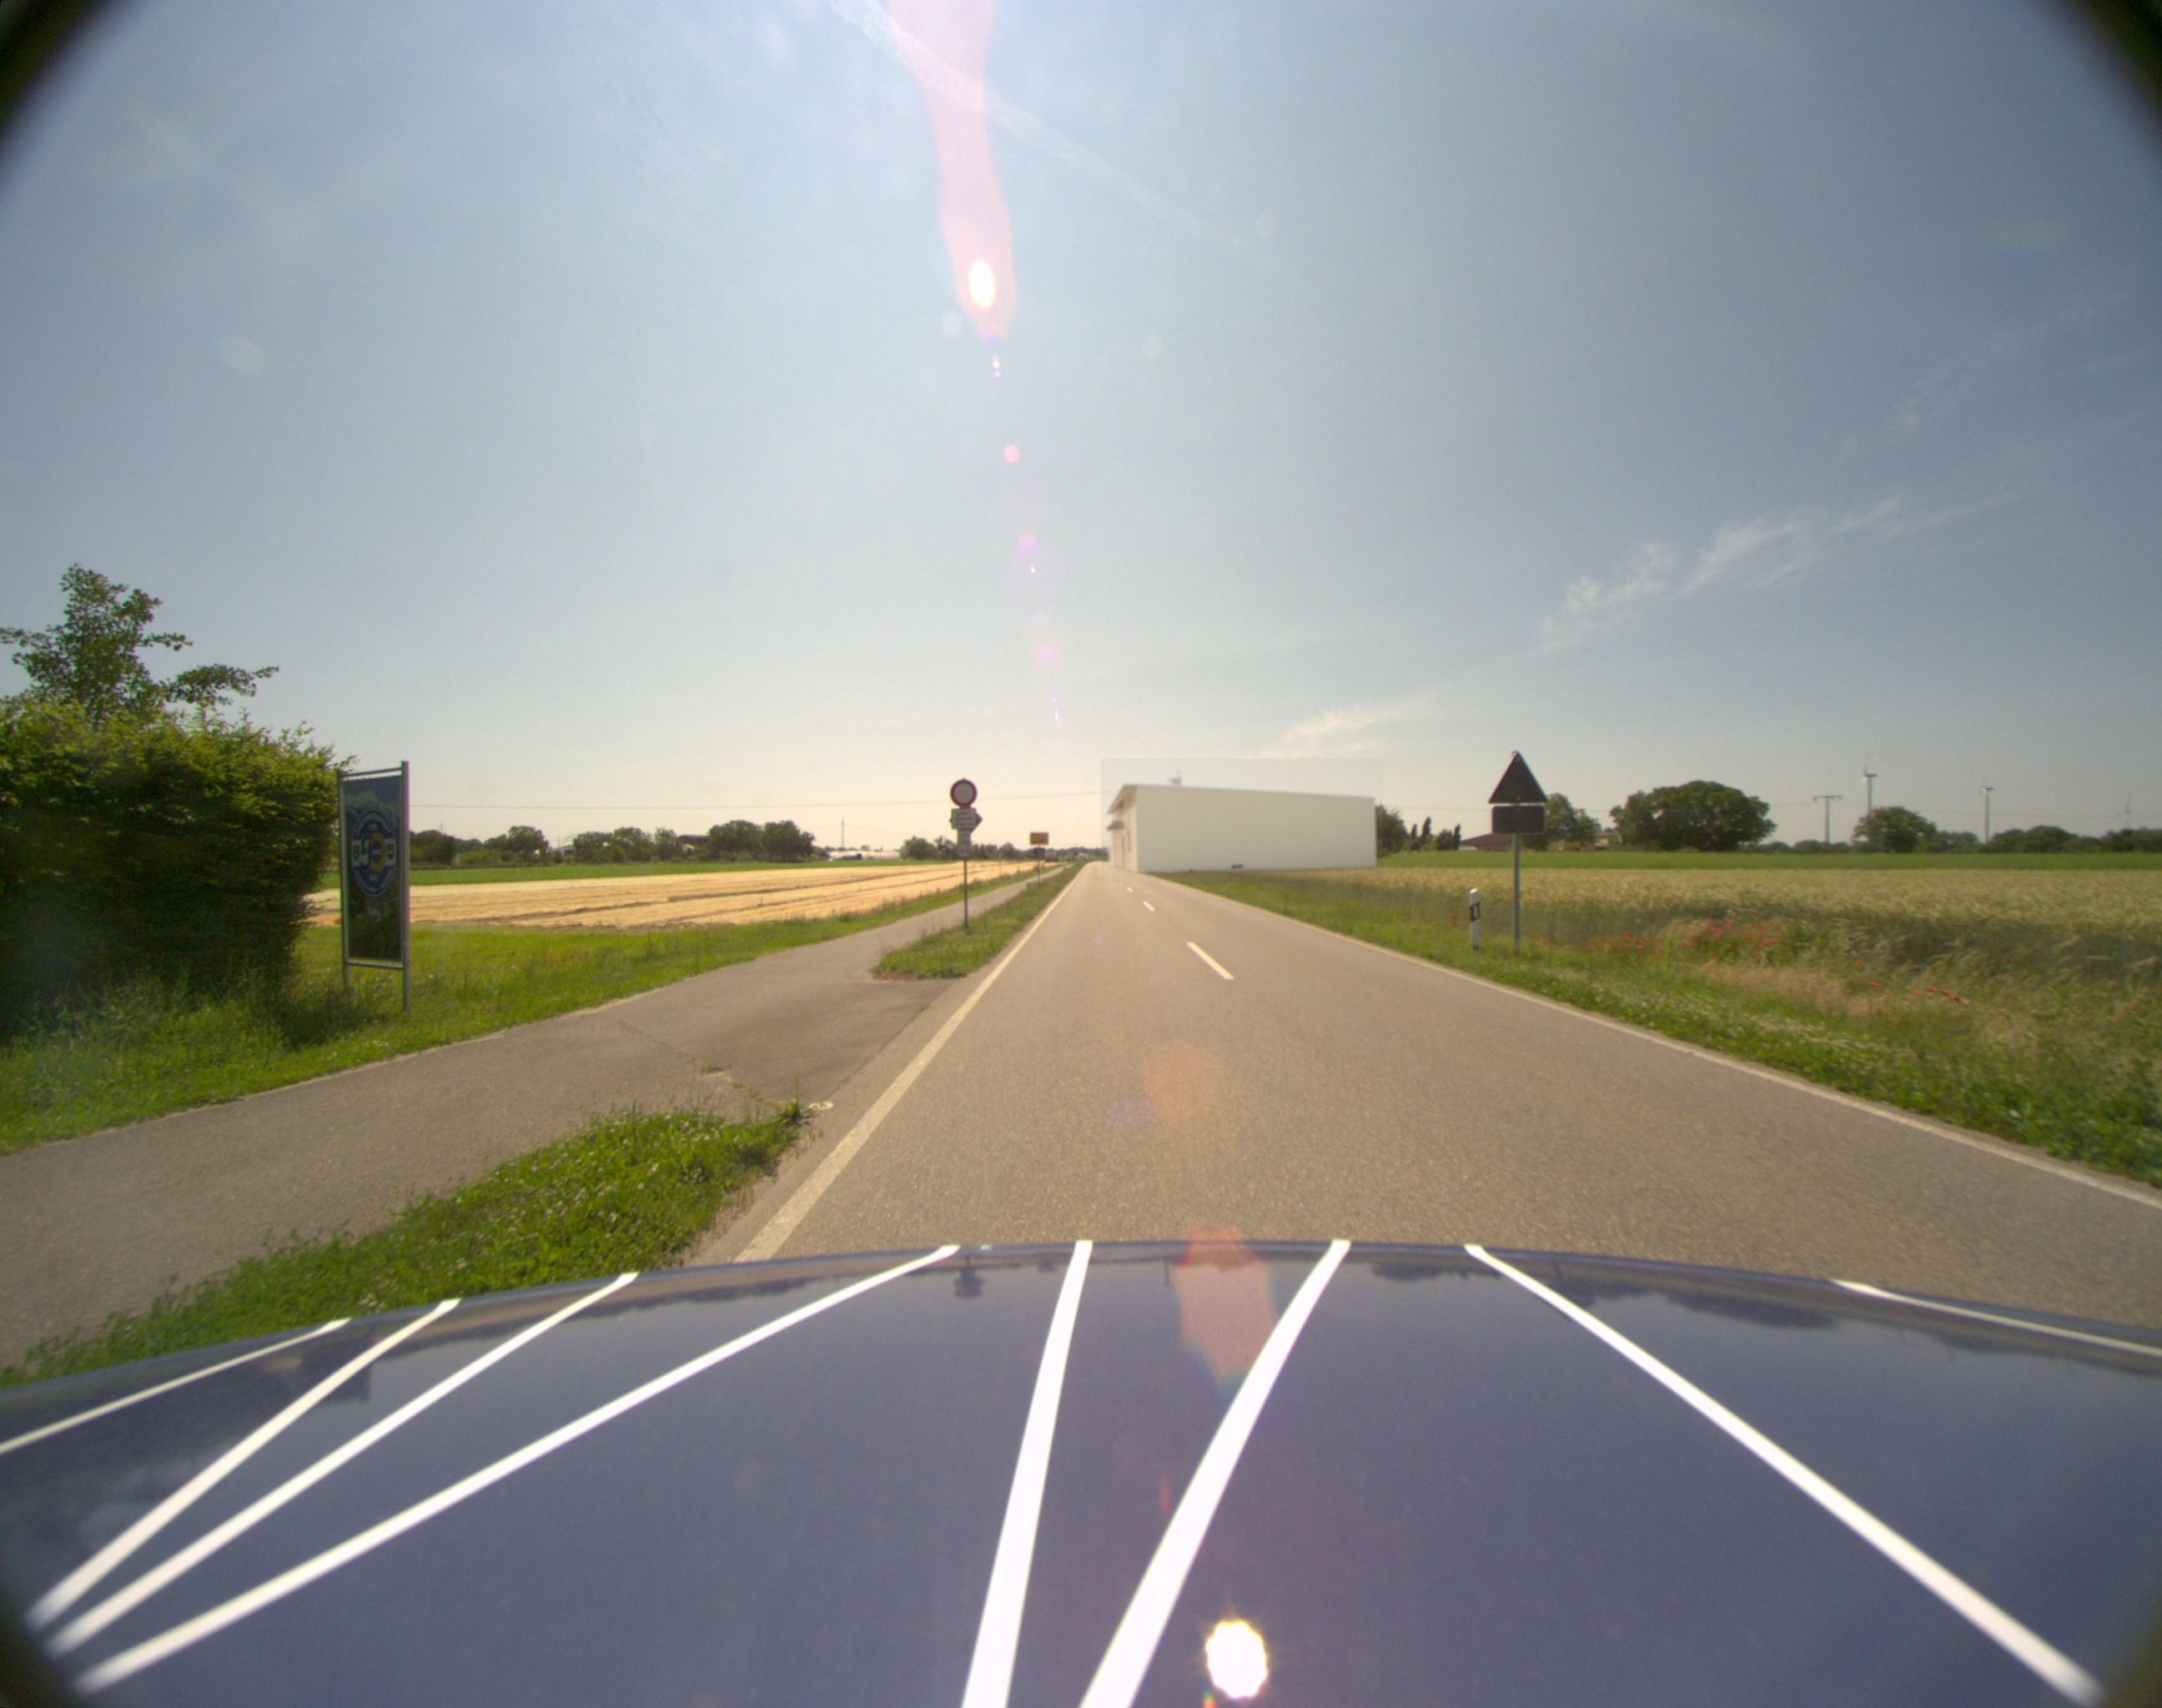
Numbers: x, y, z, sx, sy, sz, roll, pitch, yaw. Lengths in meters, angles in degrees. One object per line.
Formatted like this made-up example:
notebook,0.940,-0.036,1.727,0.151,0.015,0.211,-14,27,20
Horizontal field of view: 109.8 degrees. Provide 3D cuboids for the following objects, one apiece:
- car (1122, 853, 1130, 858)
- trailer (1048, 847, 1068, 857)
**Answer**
car,13.571,0.345,229.666,1.795,1.401,4.188,1,1,10
trailer,-6.701,-0.609,221.697,5.283,2.936,2.002,1,2,21
